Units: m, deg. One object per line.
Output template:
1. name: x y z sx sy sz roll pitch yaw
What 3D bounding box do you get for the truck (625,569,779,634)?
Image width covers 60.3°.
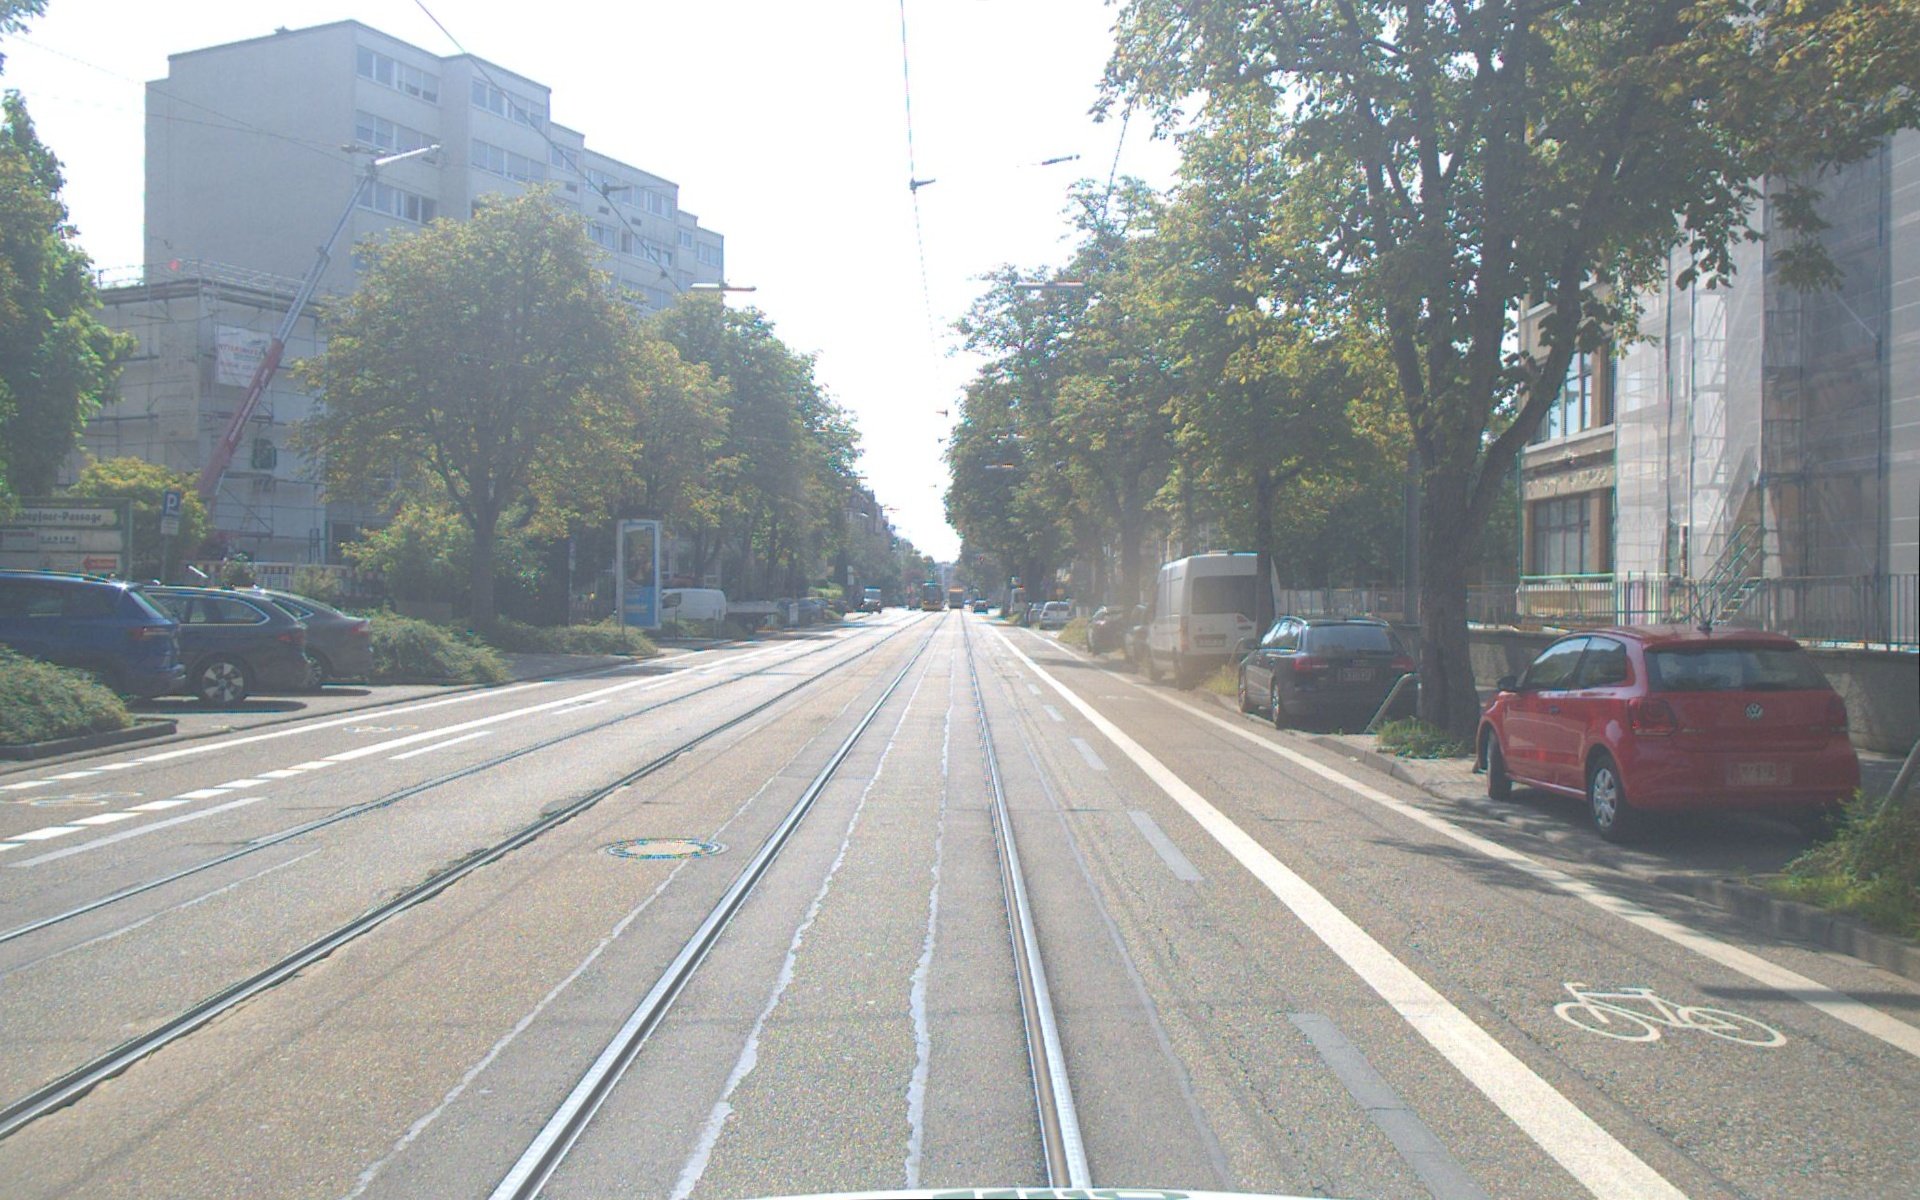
1. truck: -10.334 0.069 66.611 5.911 2.477 2.120 0 0 -40

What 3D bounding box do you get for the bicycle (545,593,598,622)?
1. bicycle: -17.280 0.320 73.541 2.290 1.189 0.602 2 -1 20

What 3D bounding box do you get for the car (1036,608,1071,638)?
1. car: 4.821 1.188 85.708 1.754 1.471 3.734 -1 0 2

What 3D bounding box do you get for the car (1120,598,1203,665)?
1. car: 5.192 0.796 43.023 1.640 1.607 4.171 -1 -1 0

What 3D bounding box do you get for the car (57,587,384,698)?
1. car: -10.826 0.594 24.376 4.230 1.523 1.766 1 0 -27

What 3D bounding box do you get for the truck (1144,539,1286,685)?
1. truck: 4.987 0.240 33.132 1.878 2.644 5.591 1 0 -1

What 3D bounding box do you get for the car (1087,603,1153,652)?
1. car: 5.001 0.830 52.295 1.640 1.483 4.663 -1 0 0

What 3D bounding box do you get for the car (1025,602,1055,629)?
1. car: 4.786 0.938 99.380 1.607 1.538 3.641 1 -1 0

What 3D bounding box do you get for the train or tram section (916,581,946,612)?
1. train or tram section: -3.681 -0.414 211.552 3.425 3.769 12.413 1 0 1

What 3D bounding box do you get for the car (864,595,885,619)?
1. car: -9.120 0.744 177.003 2.197 2.484 3.997 1 0 -3

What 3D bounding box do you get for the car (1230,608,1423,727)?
1. car: 4.958 0.857 23.016 1.650 1.466 4.803 1 0 0

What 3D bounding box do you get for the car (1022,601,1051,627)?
1. car: 4.874 0.905 105.809 1.757 1.604 4.001 0 0 2

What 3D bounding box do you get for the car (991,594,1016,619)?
1. car: 4.040 0.588 154.500 1.954 2.272 3.996 0 0 -5

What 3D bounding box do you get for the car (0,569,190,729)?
1. car: -10.623 0.505 18.041 3.933 1.677 1.829 1 0 -24

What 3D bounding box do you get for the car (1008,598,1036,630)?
1. car: 4.745 1.080 127.314 1.952 2.407 4.000 1 -1 0

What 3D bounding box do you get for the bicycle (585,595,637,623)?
1. bicycle: -16.214 0.429 76.827 2.289 1.189 0.622 2 -1 17

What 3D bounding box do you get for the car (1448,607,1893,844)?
1. car: 5.225 0.833 12.808 1.651 1.526 4.131 1 0 0

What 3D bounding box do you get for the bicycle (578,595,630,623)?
1. bicycle: -16.404 0.428 76.150 2.289 1.189 0.622 2 -1 18

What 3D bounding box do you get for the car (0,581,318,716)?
1. car: -10.375 0.585 21.081 3.940 1.597 1.765 1 0 -27

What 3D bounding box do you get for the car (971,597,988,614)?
1. car: 2.300 0.656 194.189 1.952 1.832 4.000 1 0 0

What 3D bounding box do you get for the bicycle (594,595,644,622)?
1. bicycle: -15.983 0.399 77.528 2.289 1.189 0.562 2 -1 17

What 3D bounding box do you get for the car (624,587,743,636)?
1. car: -10.487 0.442 62.898 4.251 1.803 1.796 0 0 -44
